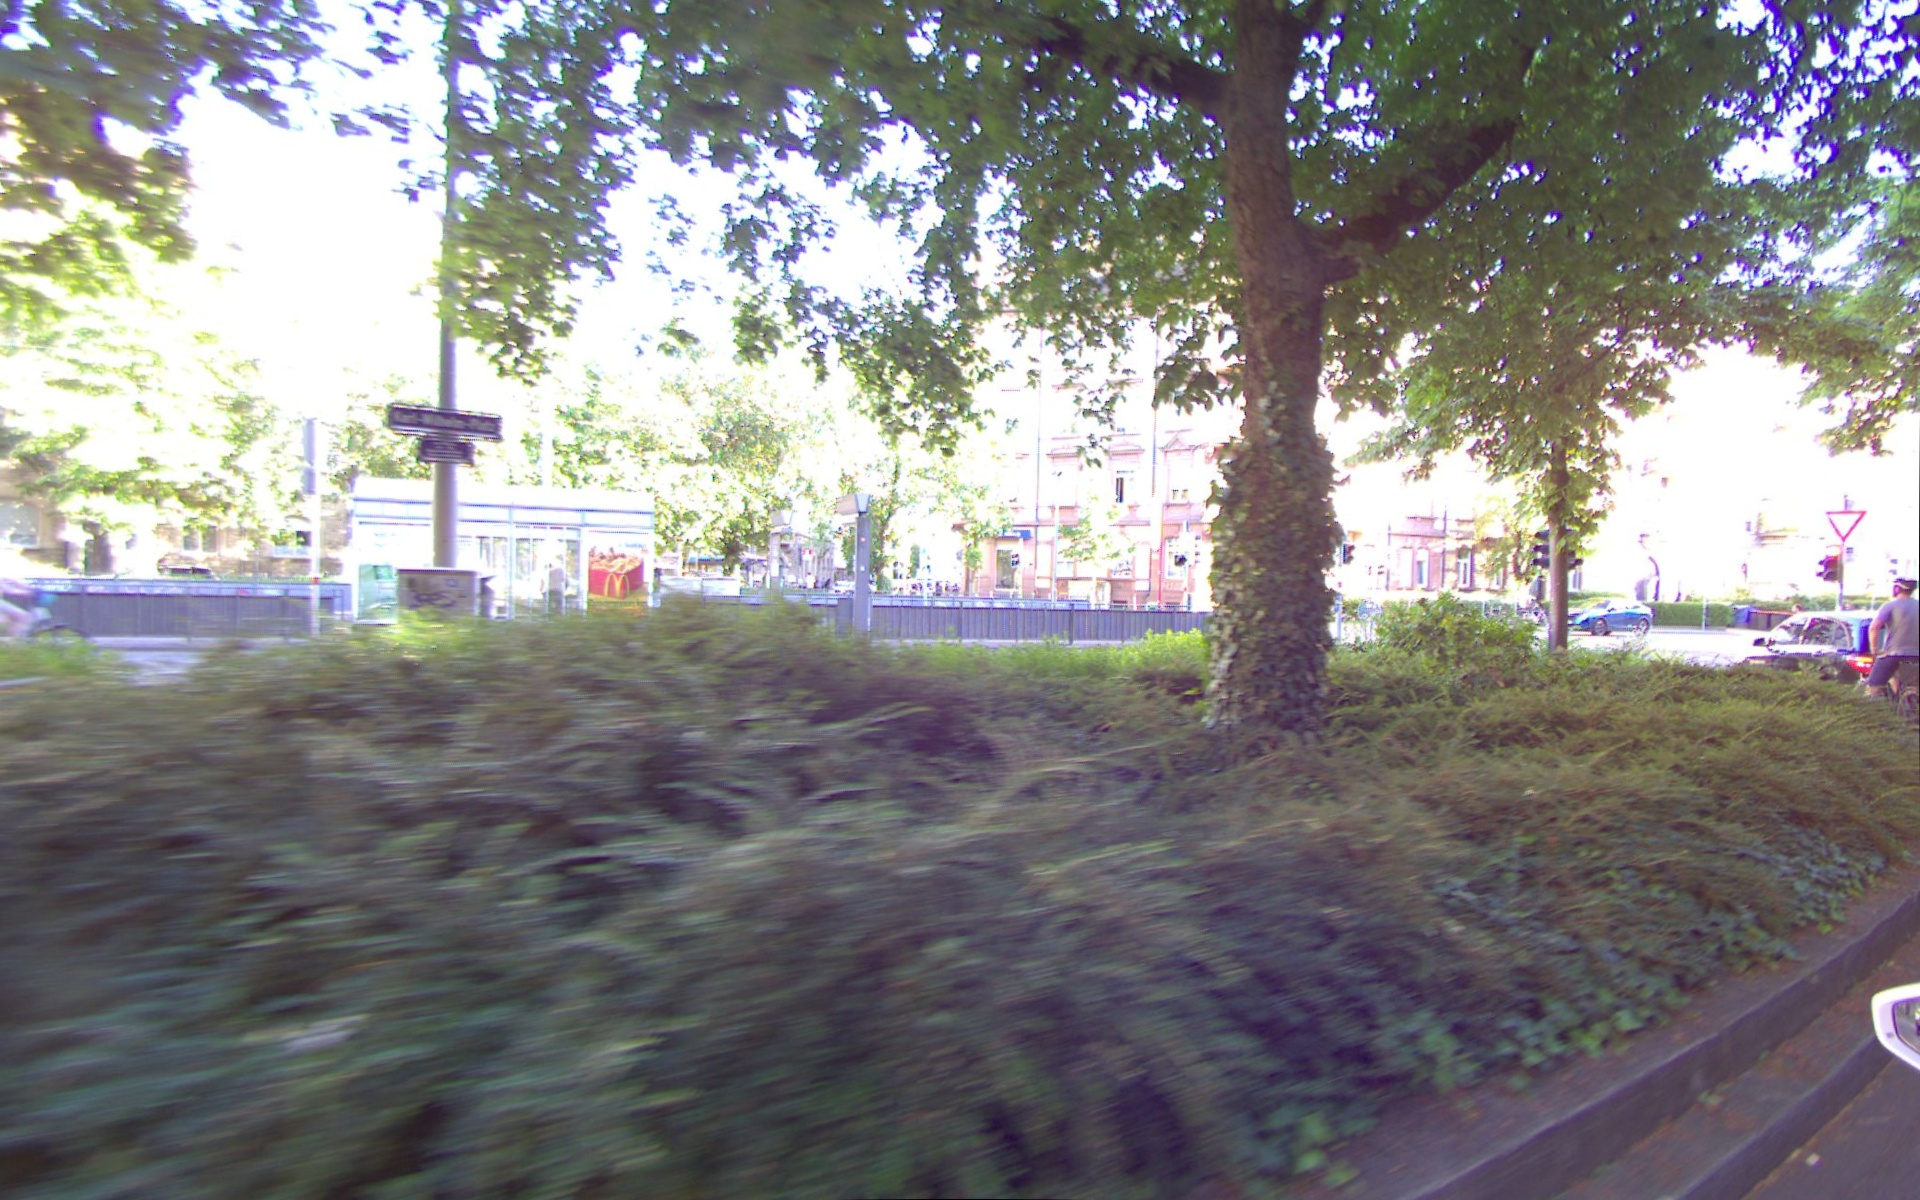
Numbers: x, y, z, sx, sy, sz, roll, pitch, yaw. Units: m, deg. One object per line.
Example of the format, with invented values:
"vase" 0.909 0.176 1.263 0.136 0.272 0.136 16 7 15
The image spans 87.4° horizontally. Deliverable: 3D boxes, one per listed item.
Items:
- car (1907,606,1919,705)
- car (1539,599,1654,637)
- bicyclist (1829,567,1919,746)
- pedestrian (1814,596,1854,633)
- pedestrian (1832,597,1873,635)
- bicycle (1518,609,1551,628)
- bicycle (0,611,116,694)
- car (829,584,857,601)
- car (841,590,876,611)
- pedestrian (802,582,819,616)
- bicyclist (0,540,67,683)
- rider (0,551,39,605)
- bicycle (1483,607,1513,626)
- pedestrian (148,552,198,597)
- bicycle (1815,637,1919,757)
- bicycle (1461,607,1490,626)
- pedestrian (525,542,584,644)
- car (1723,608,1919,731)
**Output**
"car" 15.995 0.948 14.514 1.860 1.599 3.999 2 1 20
"car" 27.866 0.775 44.010 4.307 1.516 1.991 1 1 -19
"bicyclist" 10.641 0.612 11.370 0.837 1.924 1.139 1 1 22
"pedestrian" 48.673 0.818 55.961 1.368 1.988 1.155 1 1 -24
"pedestrian" 48.793 0.861 54.896 1.368 1.988 1.155 1 1 -24
"bicycle" 28.597 0.916 49.998 1.419 0.873 0.450 2 1 -4
"bicycle" -11.872 0.642 12.483 1.953 0.971 0.767 1 1 -22
"car" -11.168 -0.729 95.989 1.730 1.629 4.002 2 1 6
"car" -8.501 0.010 84.724 1.730 1.629 4.002 2 1 13
"pedestrian" -8.930 -0.057 59.892 0.791 2.041 0.567 0 2 -38
"bicyclist" -11.941 0.133 12.513 1.032 1.739 0.692 1 1 -22
"rider" -30.760 -0.717 32.763 0.805 1.704 0.671 4 1 10
"bicycle" 26.322 0.815 49.177 1.200 0.873 0.450 2 1 -4
"pedestrian" -34.848 -1.130 44.493 1.241 1.937 1.487 2 1 39
"bicycle" 10.626 1.071 11.566 0.588 1.177 2.040 2 1 24
"bicycle" 25.149 0.819 49.003 1.200 0.873 0.450 2 1 -4
"pedestrian" -7.930 -0.137 19.672 1.005 1.923 0.908 1 1 -22
"car" 13.001 0.902 14.640 1.782 1.564 3.959 0 0 18
